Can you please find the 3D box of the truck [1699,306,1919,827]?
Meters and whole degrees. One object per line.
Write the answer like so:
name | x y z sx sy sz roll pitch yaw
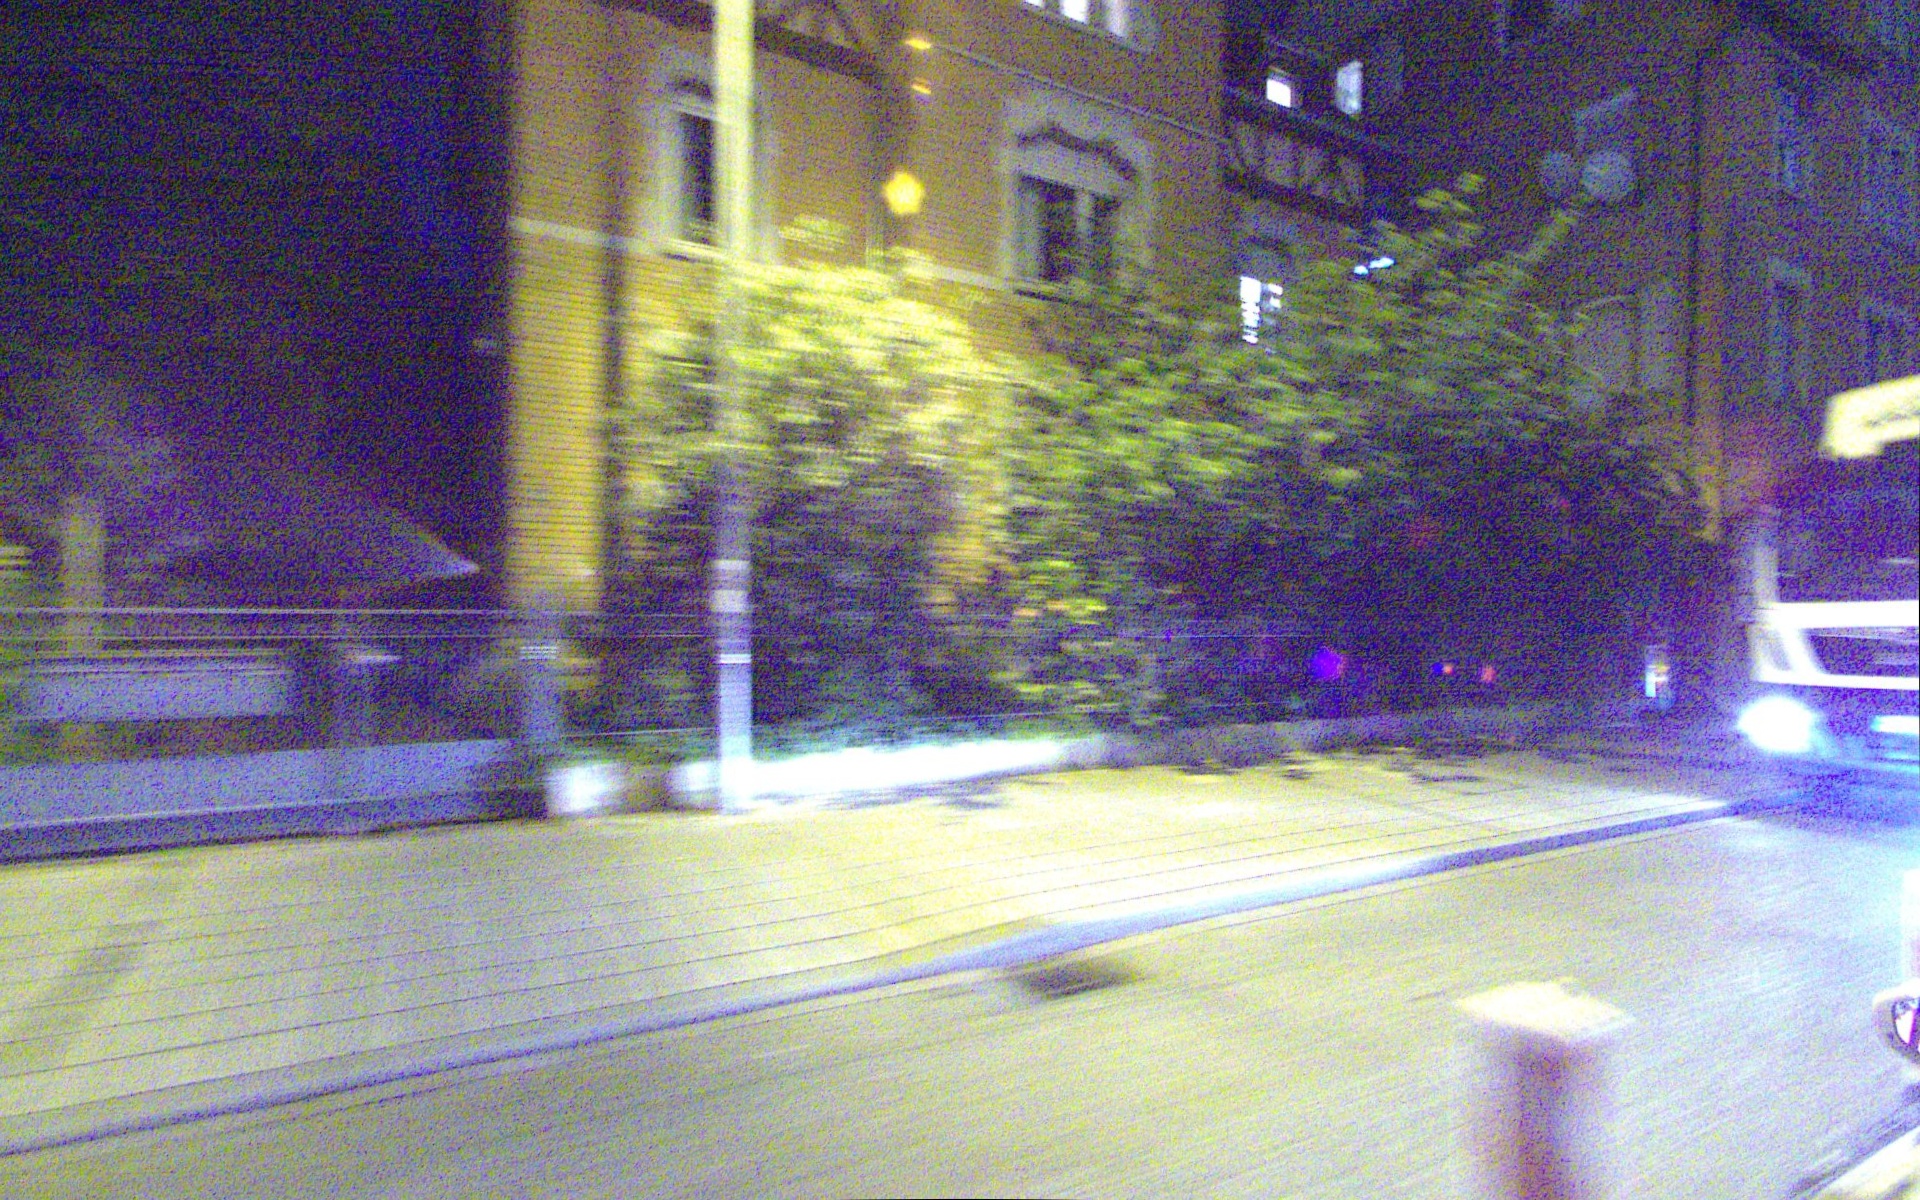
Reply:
truck | 11.347 -0.170 9.598 9.983 3.767 2.745 1 -2 -27
